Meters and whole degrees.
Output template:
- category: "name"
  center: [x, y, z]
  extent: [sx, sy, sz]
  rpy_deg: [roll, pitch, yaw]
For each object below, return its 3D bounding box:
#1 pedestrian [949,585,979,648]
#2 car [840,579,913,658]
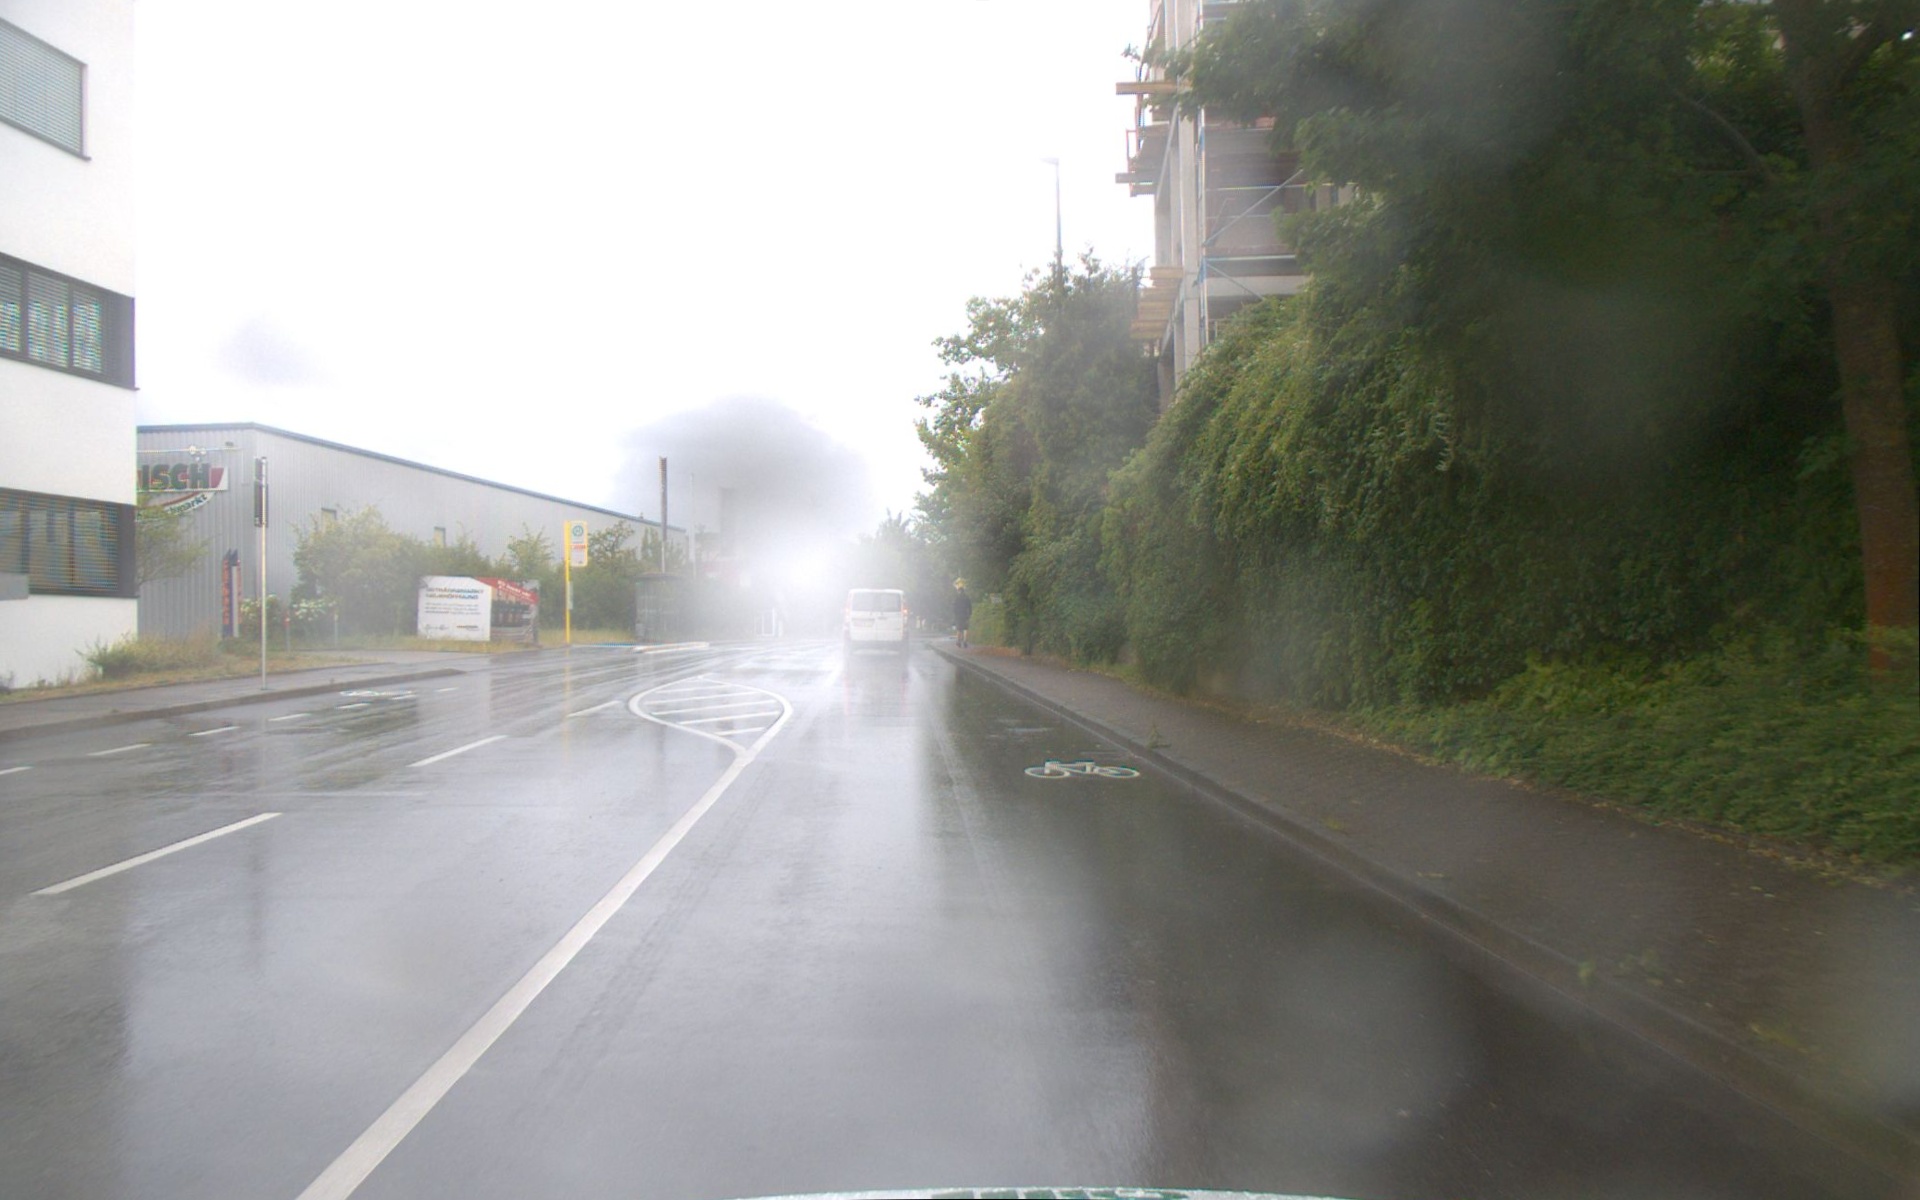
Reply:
- category: "pedestrian"
  center: [0.124, 0.525, 51.998]
  extent: [0.761, 1.940, 0.728]
  rpy_deg: [-4, -1, -4]
- category: "car"
  center: [-2.370, 0.515, 47.710]
  extent: [1.861, 2.053, 5.370]
  rpy_deg: [-3, 0, -2]
